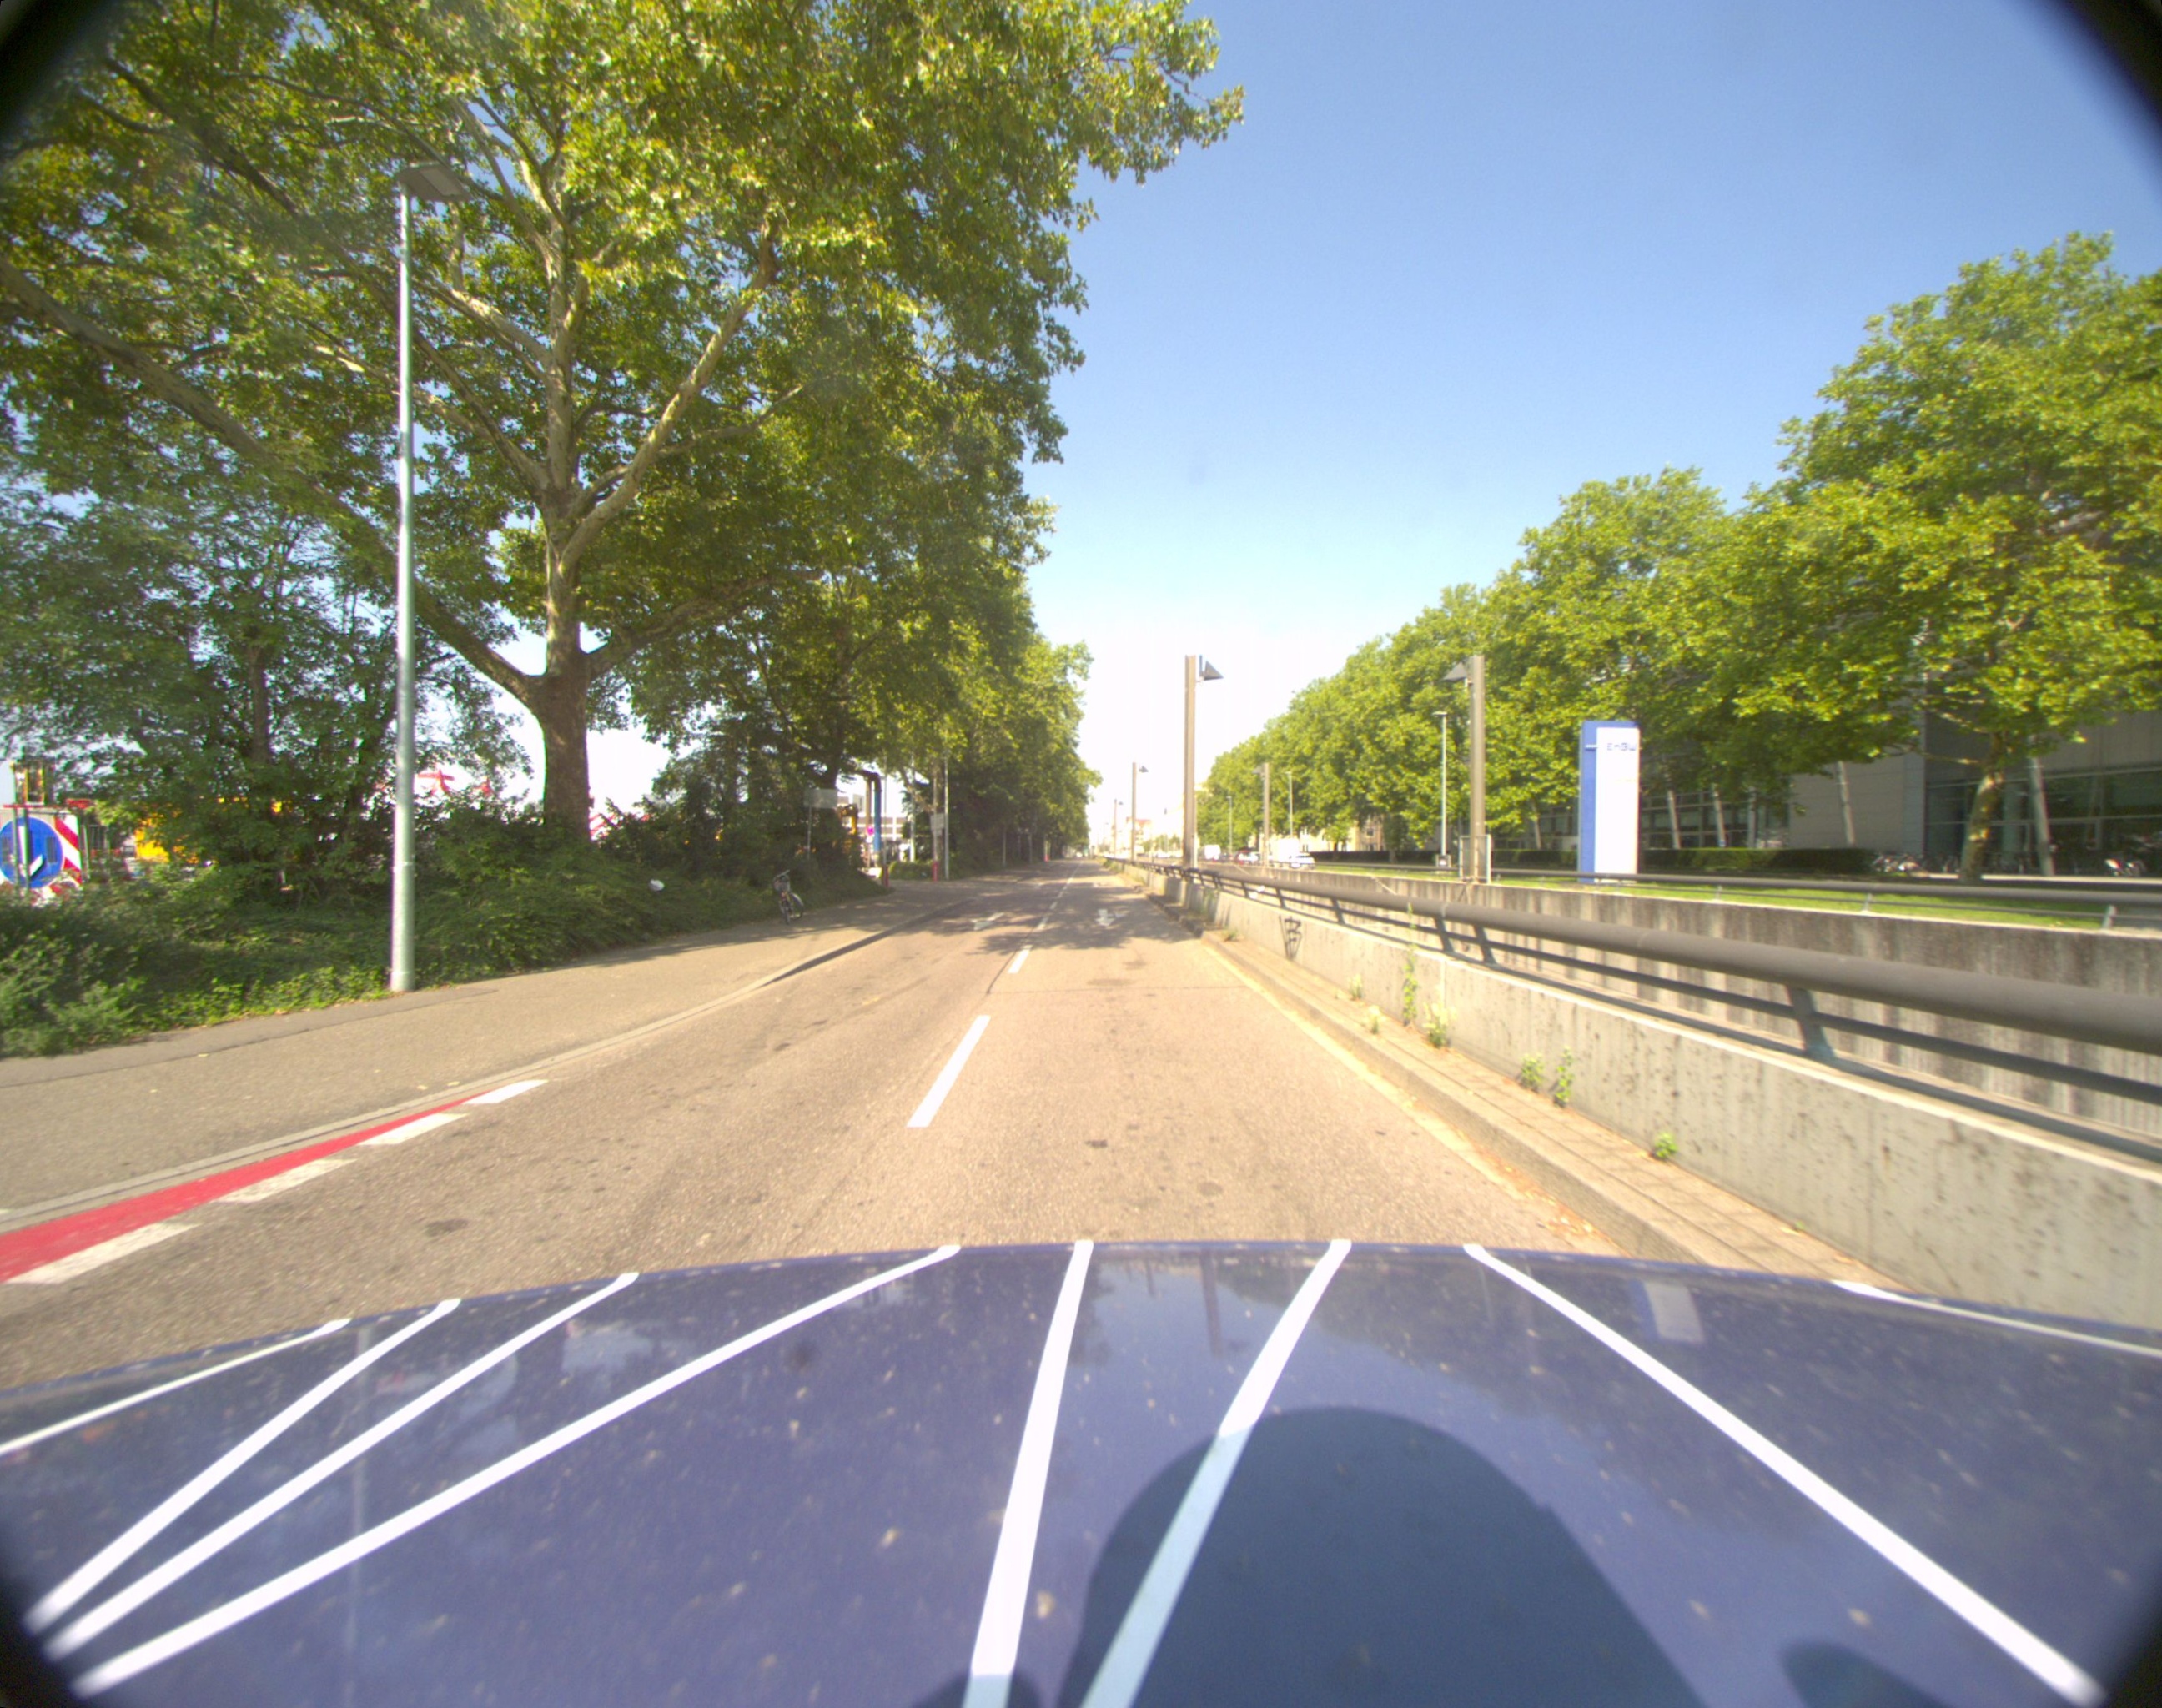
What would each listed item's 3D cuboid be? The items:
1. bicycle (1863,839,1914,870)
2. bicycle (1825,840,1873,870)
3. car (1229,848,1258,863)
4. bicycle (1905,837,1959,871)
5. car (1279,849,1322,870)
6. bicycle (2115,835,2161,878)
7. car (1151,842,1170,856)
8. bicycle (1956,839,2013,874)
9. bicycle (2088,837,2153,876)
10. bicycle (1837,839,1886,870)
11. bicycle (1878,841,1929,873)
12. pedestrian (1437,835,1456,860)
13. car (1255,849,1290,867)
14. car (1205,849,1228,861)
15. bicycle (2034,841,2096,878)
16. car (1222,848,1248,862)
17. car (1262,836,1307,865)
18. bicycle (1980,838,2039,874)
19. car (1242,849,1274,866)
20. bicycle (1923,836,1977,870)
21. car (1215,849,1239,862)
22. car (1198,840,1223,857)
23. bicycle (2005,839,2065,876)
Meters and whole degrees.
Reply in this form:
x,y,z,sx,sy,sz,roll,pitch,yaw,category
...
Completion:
x,y,z,sx,sy,sz,roll,pitch,yaw,category
41.535,0.024,39.102,2.169,1.546,0.600,-2,1,-6,bicycle
41.310,0.046,40.885,2.169,1.546,0.600,-2,1,-6,bicycle
16.799,0.113,78.667,1.999,1.445,3.999,-2,1,-1,car
41.971,0.002,37.480,2.169,1.546,0.600,-2,1,-6,bicycle
16.452,0.407,57.068,1.999,1.445,3.999,-2,1,-1,car
43.189,0.090,30.732,2.169,1.630,0.600,-2,1,-6,bicycle
12.074,-0.729,115.512,1.999,2.002,3.998,-2,1,-5,car
42.447,0.105,35.699,2.169,1.546,0.600,-2,1,-6,bicycle
43.054,0.096,31.472,2.169,1.546,0.600,-2,1,-6,bicycle
41.343,0.046,40.262,2.169,1.546,0.600,-2,1,-6,bicycle
41.616,0.141,38.451,2.169,1.546,0.600,-2,1,-6,bicycle
29.904,-0.545,62.181,0.948,2.002,1.349,-2,1,2,pedestrian
16.757,0.287,66.779,1.999,1.445,3.999,-2,1,-1,car
16.930,0.106,95.005,1.999,1.445,3.999,-2,1,-1,car
42.923,0.234,33.140,2.169,1.546,0.600,-2,1,-6,bicycle
16.991,0.086,83.836,1.999,1.445,3.999,-2,1,-1,car
16.593,-0.327,62.152,2.291,2.220,4.655,-2,1,-1,car
42.595,0.092,34.858,2.169,1.546,0.600,-2,1,-6,bicycle
16.707,0.329,71.738,1.999,1.445,3.999,-2,1,-1,car
42.126,-0.064,36.846,2.169,1.546,0.600,-2,1,-6,bicycle
16.951,0.140,88.488,1.999,1.445,3.999,-2,1,-1,car
17.120,-0.701,100.649,2.291,2.068,4.655,-2,1,-1,car
42.722,0.147,34.031,2.169,1.546,0.600,-2,1,-6,bicycle
